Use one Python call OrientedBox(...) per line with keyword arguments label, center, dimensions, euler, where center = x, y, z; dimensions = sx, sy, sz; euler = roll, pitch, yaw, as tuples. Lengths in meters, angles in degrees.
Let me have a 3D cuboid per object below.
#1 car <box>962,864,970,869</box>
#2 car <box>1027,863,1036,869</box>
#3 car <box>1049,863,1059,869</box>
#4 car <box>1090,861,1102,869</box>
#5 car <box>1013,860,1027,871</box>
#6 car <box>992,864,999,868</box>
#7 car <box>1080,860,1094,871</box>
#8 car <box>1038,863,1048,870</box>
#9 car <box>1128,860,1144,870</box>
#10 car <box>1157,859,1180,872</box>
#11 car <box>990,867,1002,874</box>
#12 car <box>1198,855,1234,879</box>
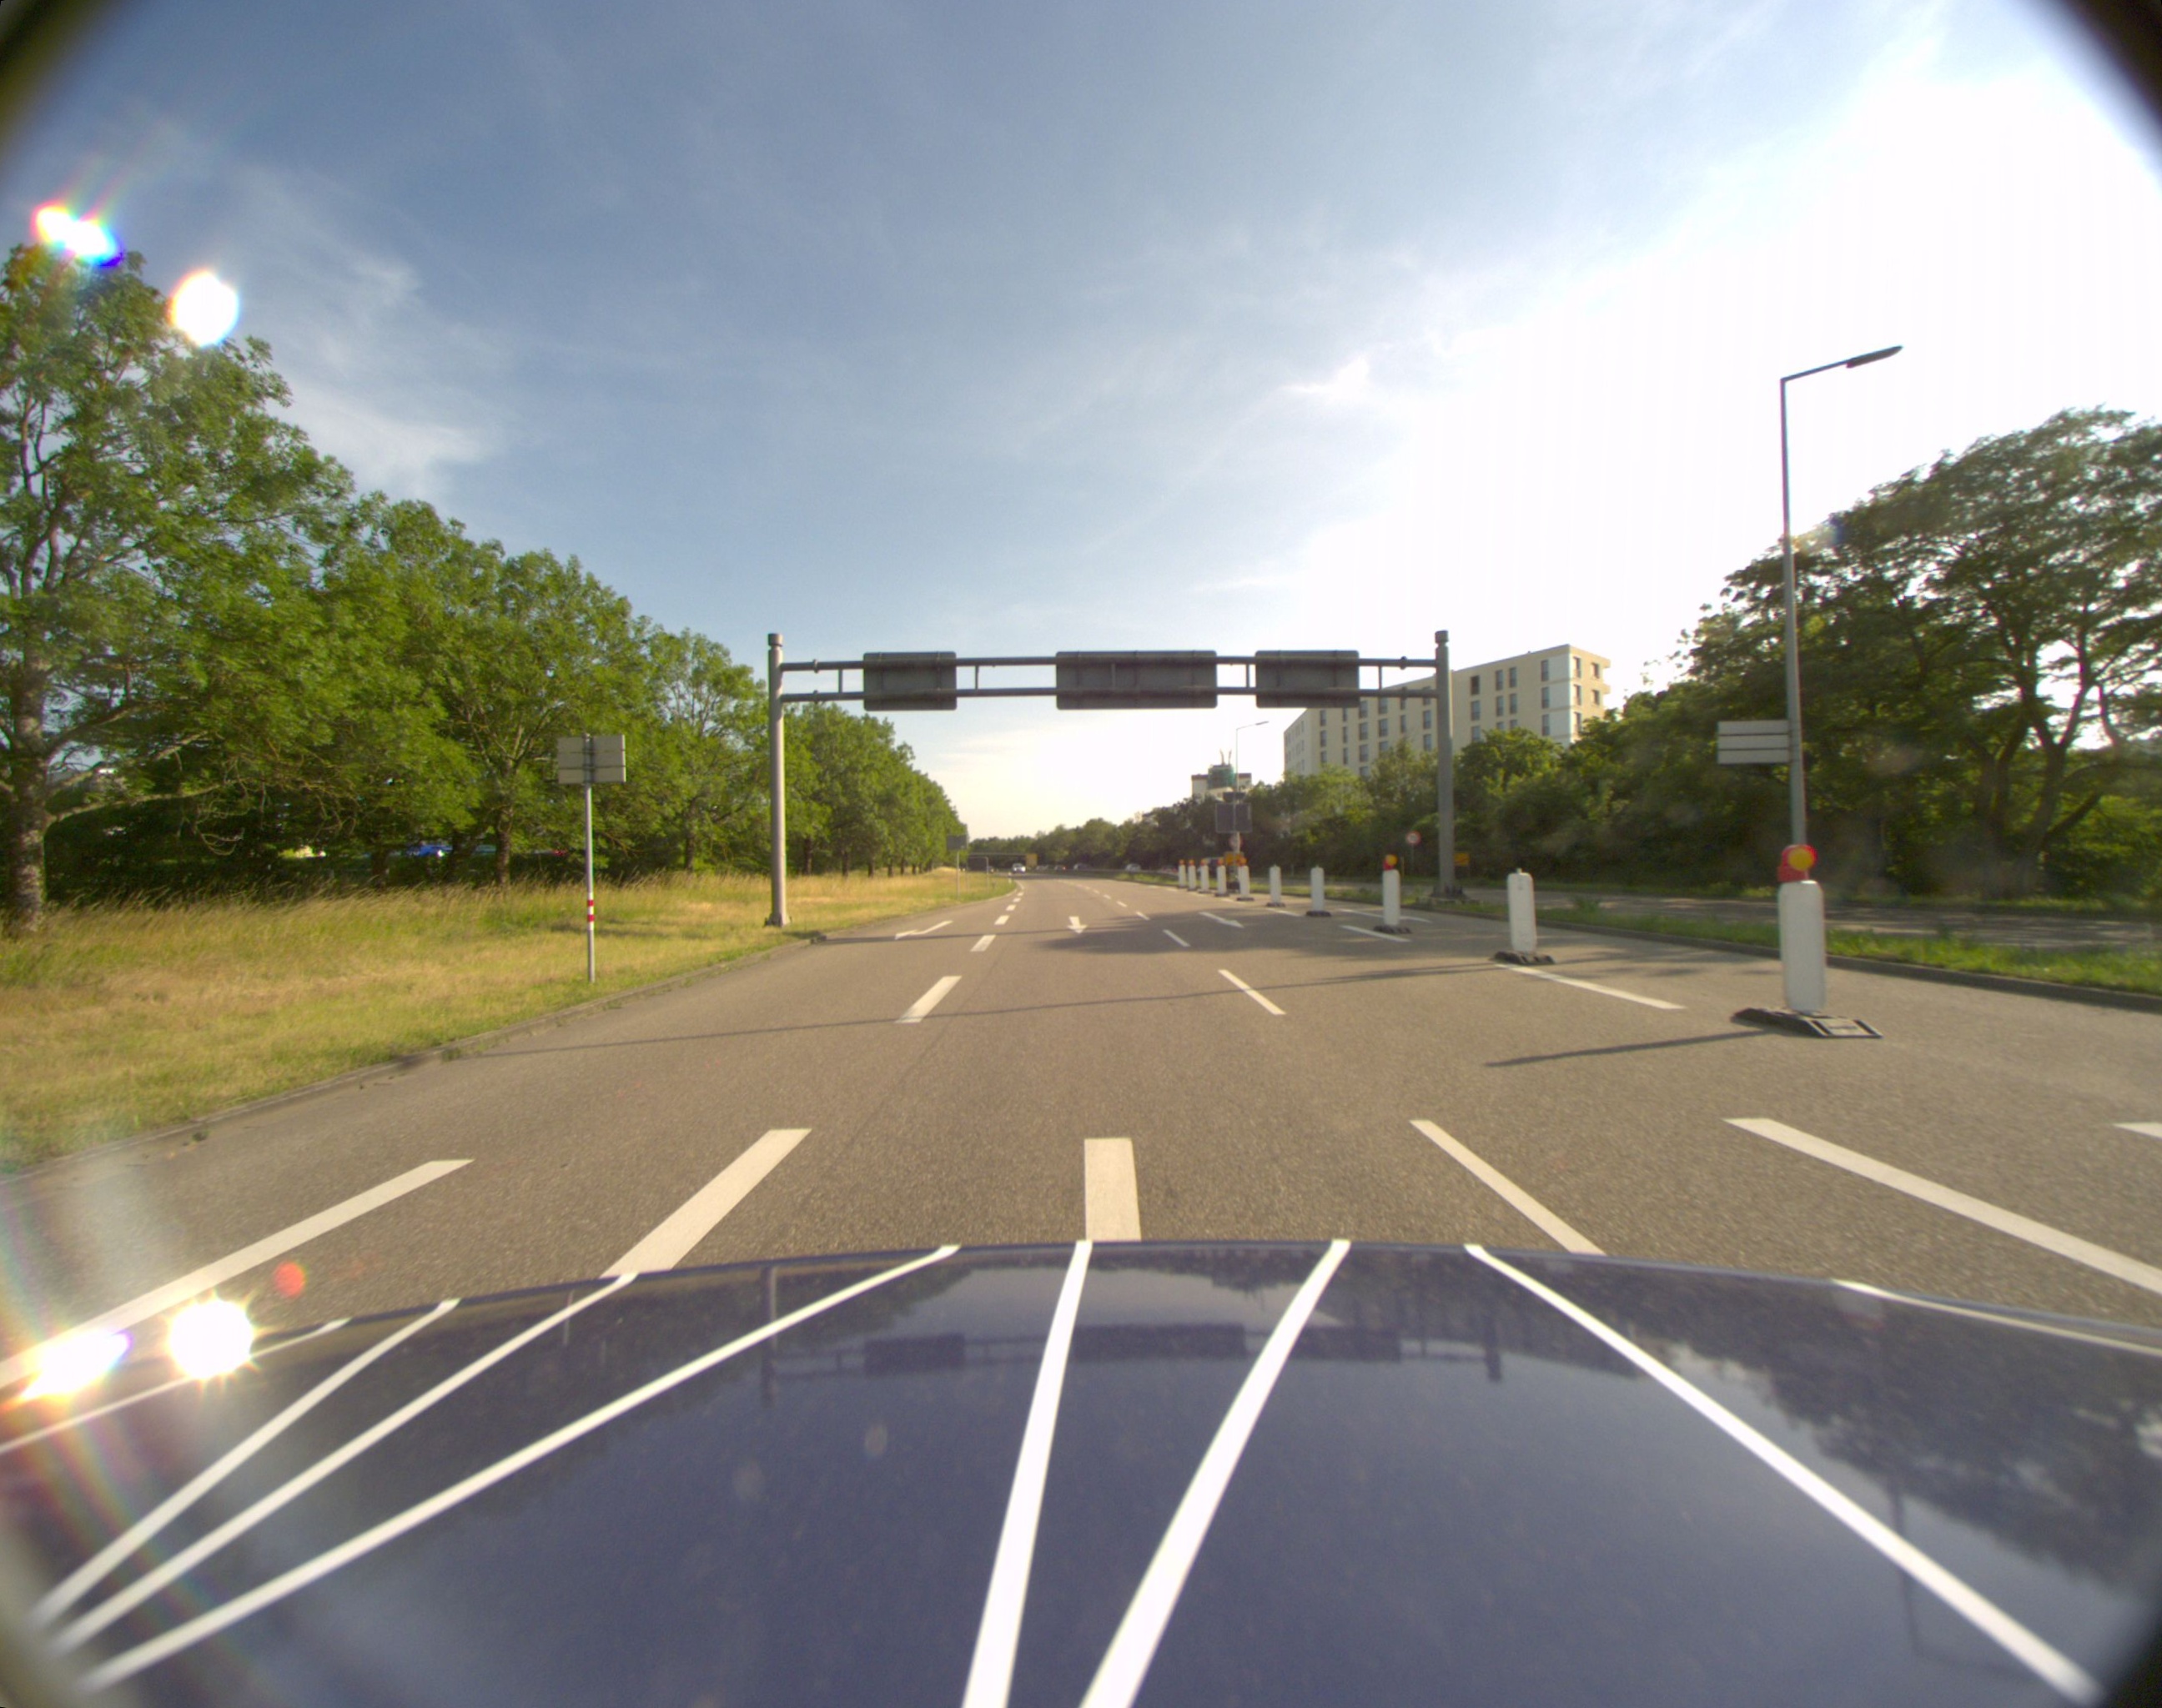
OrientedBox(label="car", center=(-35.996, 4.013, 238.106), dimensions=(1.897, 1.447, 3.904), euler=(-1, 0, -16))
OrientedBox(label="car", center=(-13.251, 3.176, 203.920), dimensions=(1.609, 1.432, 3.232), euler=(-3, 0, -15))
OrientedBox(label="car", center=(-6.357, 2.739, 175.895), dimensions=(1.609, 1.433, 3.232), euler=(-3, 0, -14))
OrientedBox(label="car", center=(2.748, 1.964, 139.292), dimensions=(1.673, 1.432, 3.937), euler=(-3, 0, -7))
OrientedBox(label="car", center=(-11.274, 2.139, 140.879), dimensions=(1.903, 1.813, 4.351), euler=(-3, 0, -14))
OrientedBox(label="car", center=(-27.697, 3.914, 245.858), dimensions=(1.647, 1.432, 4.197), euler=(-3, 0, -13))
OrientedBox(label="car", center=(0.967, 1.843, 121.798), dimensions=(1.736, 1.602, 3.522), euler=(-3, 0, -6))
OrientedBox(label="car", center=(-8.284, 2.801, 165.440), dimensions=(1.608, 1.433, 3.233), euler=(-3, 0, -12))
OrientedBox(label="car", center=(7.810, 1.555, 107.716), dimensions=(1.644, 1.368, 4.063), euler=(-2, 0, -4))
OrientedBox(label="car", center=(8.396, 1.079, 73.065), dimensions=(1.516, 1.151, 3.671), euler=(-2, 0, -5))
OrientedBox(label="car", center=(-18.199, 3.433, 162.355), dimensions=(1.903, 1.377, 4.351), euler=(-3, 0, -14))
OrientedBox(label="car", center=(10.426, 0.965, 58.951), dimensions=(1.790, 1.796, 4.122), euler=(-1, 0, -4))
